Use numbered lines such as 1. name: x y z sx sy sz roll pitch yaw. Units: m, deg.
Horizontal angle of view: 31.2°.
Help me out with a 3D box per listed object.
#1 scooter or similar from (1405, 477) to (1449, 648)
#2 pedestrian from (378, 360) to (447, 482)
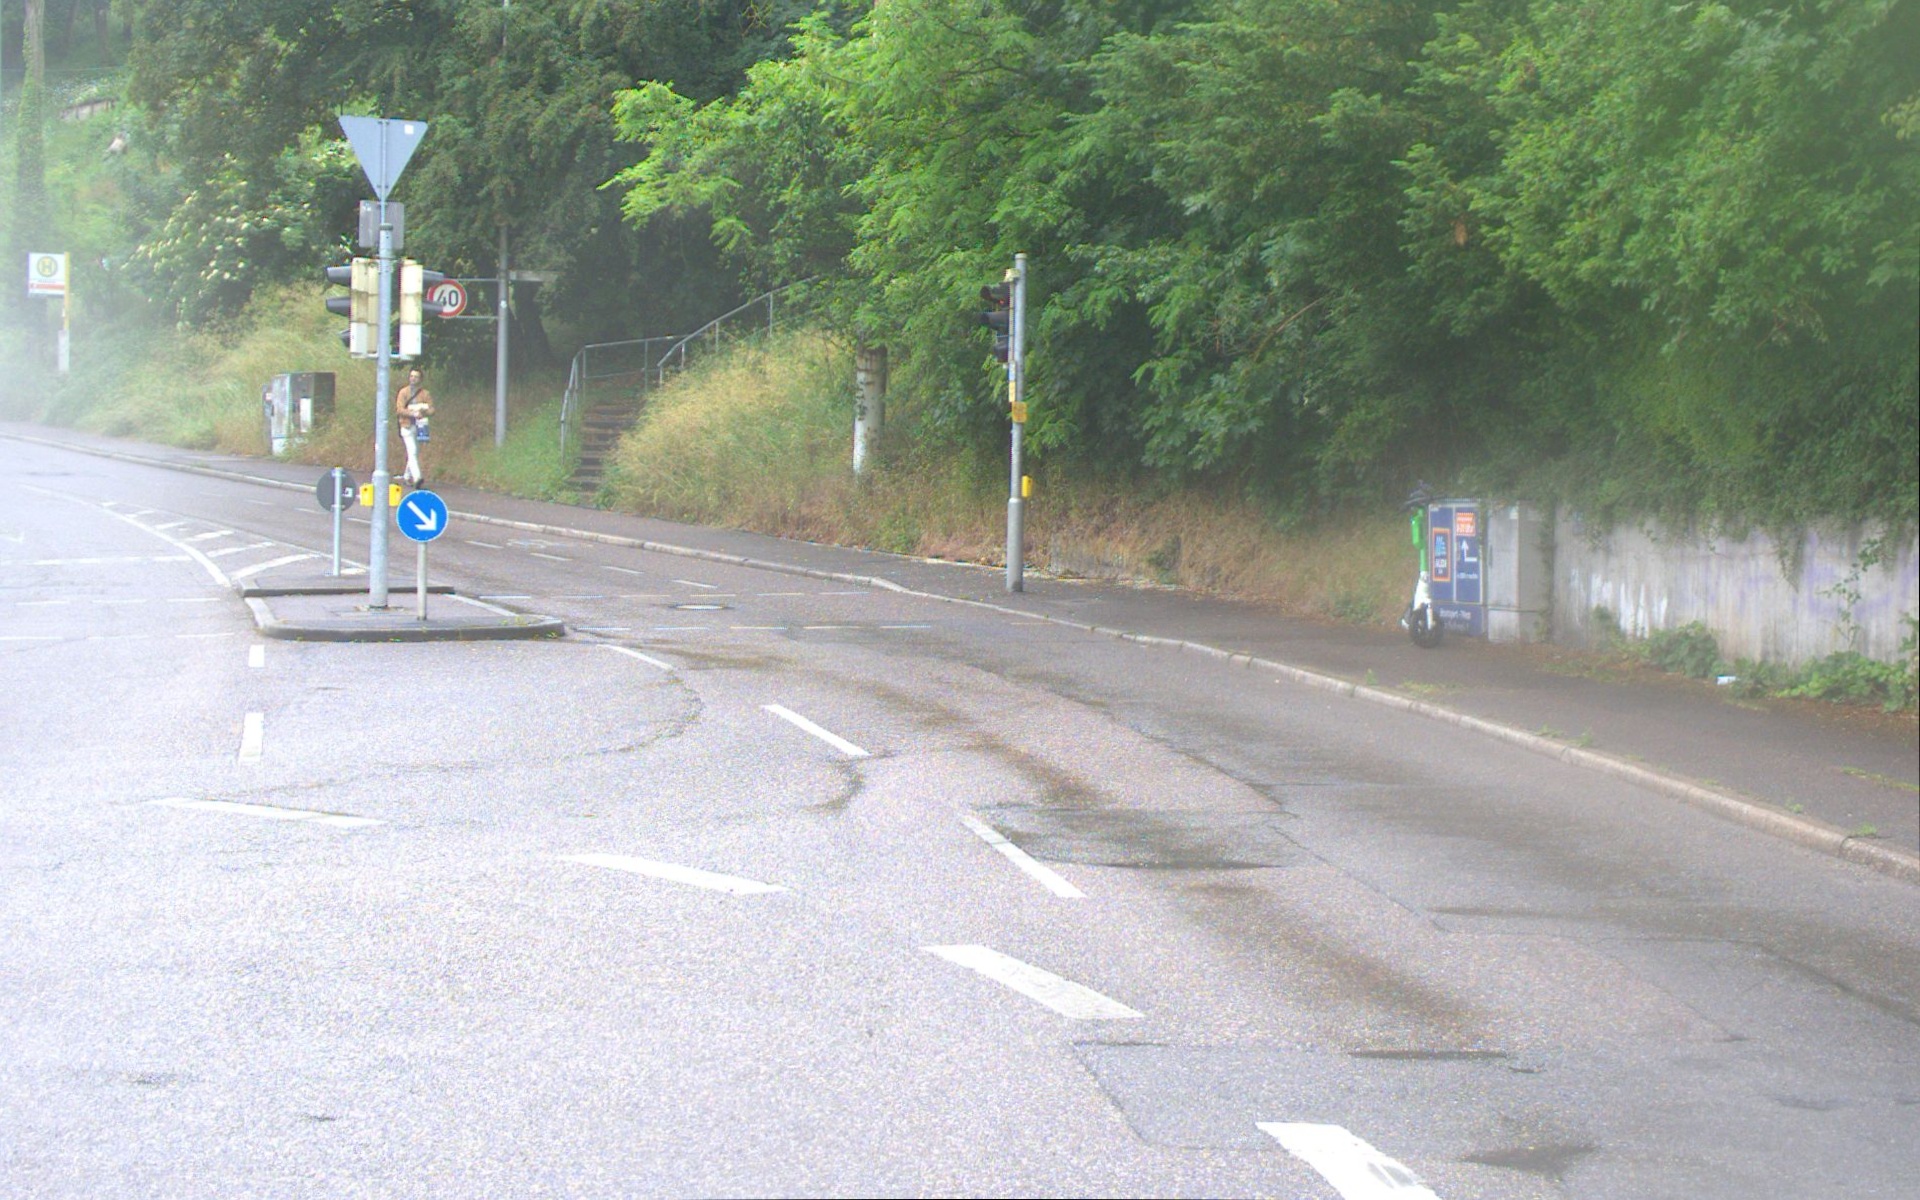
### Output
1. scooter or similar: 3.593 -0.294 26.474 0.322 1.275 0.751 0 4 7
2. pedestrian: -8.059 -2.627 50.580 0.880 1.730 0.866 0 0 -17
